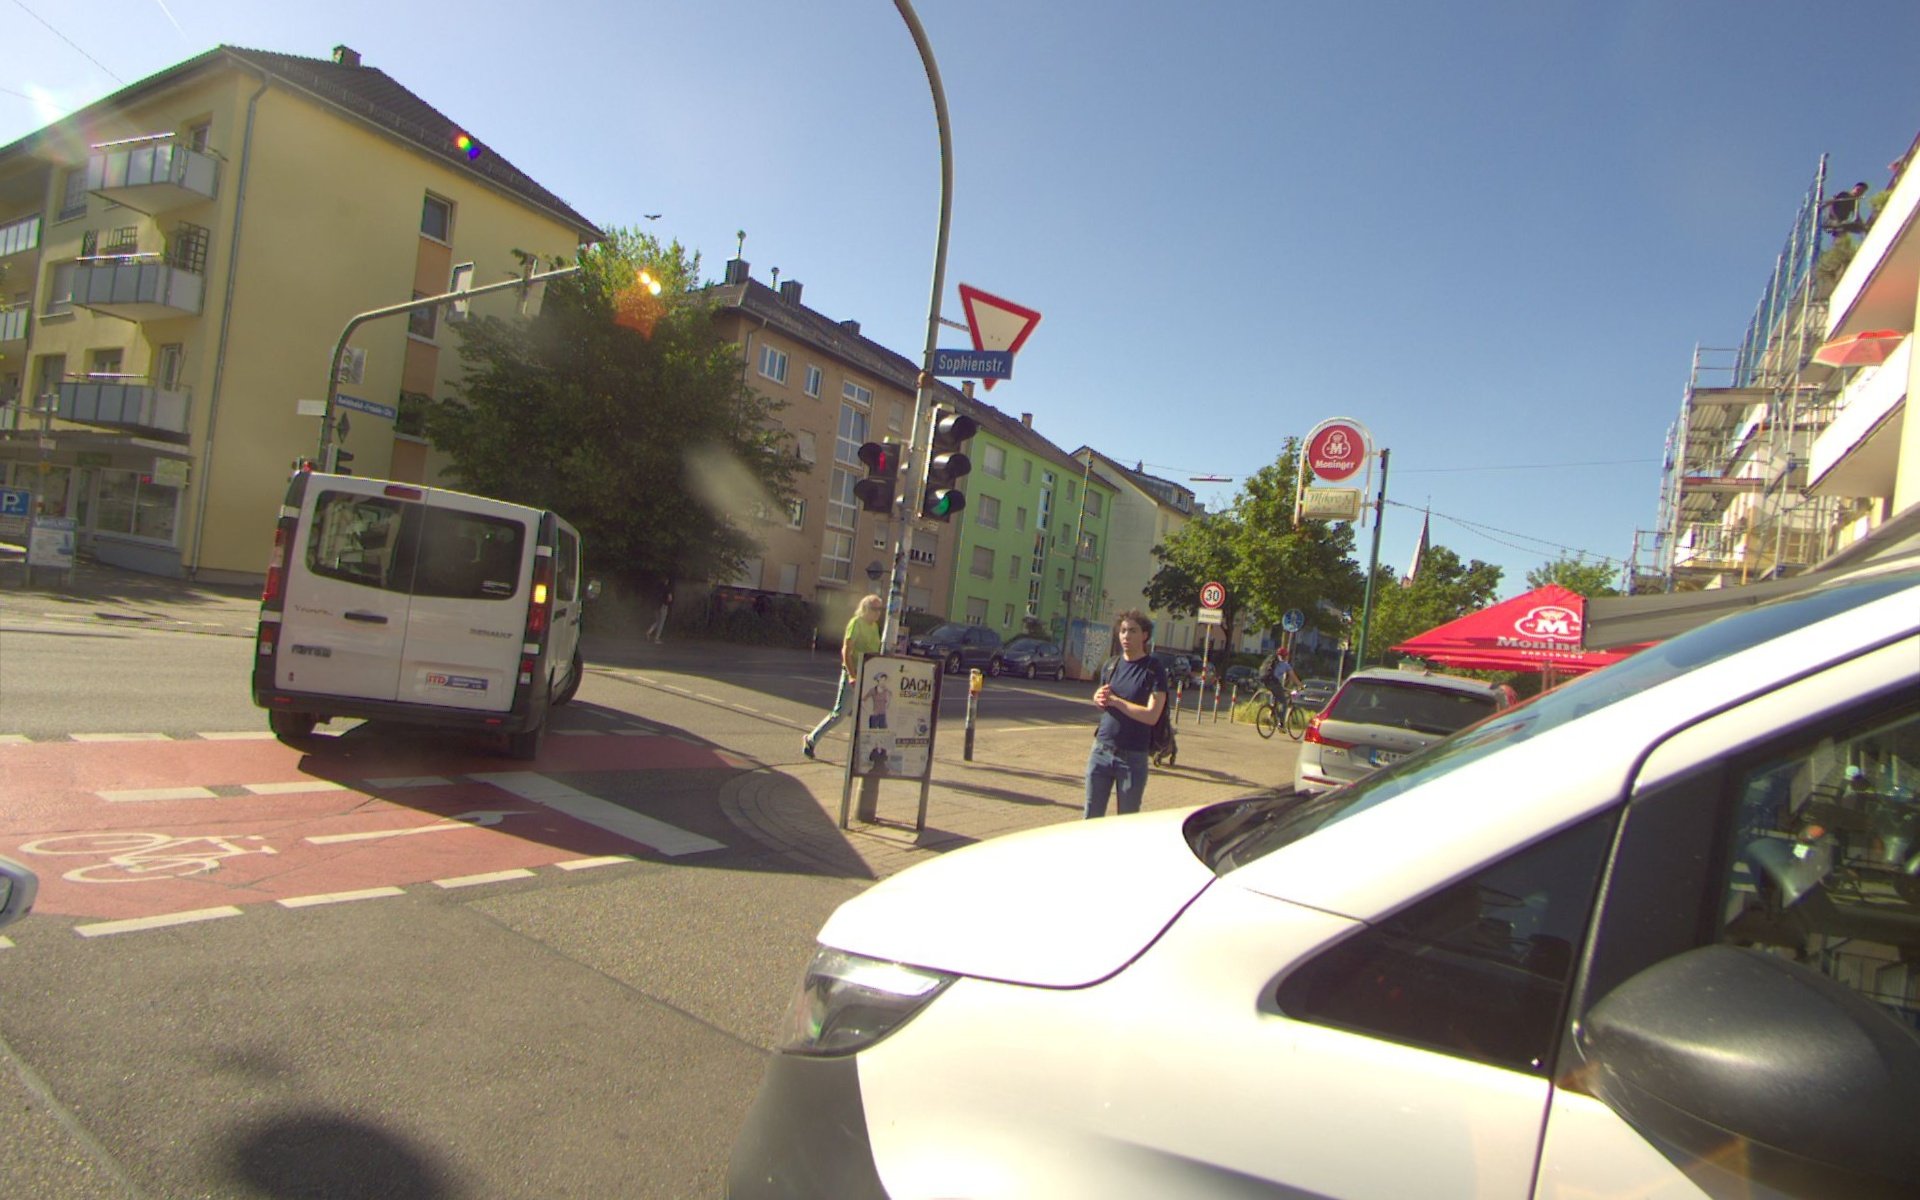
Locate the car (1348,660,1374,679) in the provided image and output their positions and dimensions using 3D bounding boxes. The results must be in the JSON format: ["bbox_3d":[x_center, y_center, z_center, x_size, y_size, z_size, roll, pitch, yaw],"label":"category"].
[{"bbox_3d":[36.961,6.407,92.690,1.657,1.428,3.518,7,-1,31],"label":"car"}]

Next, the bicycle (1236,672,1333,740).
[{"bbox_3d":[6.860,2.246,21.224,2.119,1.270,0.797,6,-2,-36],"label":"bicycle"}]

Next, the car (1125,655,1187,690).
[{"bbox_3d":[9.583,3.543,49.142,1.658,1.352,3.516,7,-1,33],"label":"car"}]

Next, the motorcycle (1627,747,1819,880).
[{"bbox_3d":[8.124,2.282,10.704,1.986,1.180,0.565,8,-1,-21],"label":"motorcycle"}]

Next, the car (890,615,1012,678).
[{"bbox_3d":[-0.229,1.544,32.645,1.967,1.592,3.993,7,-1,32],"label":"car"}]

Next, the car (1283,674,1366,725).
[{"bbox_3d":[11.978,3.268,32.923,1.686,1.329,3.994,7,-2,32],"label":"car"}]

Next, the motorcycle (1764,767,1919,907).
[{"bbox_3d":[9.047,2.380,10.052,1.986,1.180,0.565,8,-1,-21],"label":"motorcycle"}]

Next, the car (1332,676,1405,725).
[{"bbox_3d":[15.015,3.706,36.891,1.686,1.470,3.993,7,-2,32],"label":"car"}]

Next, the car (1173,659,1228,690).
[{"bbox_3d":[12.993,4.018,54.232,1.658,1.352,3.516,7,-1,33],"label":"car"}]

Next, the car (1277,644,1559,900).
[{"bbox_3d":[4.547,1.481,9.615,1.795,1.682,3.993,7,-1,32],"label":"car"}]

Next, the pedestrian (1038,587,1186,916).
[{"bbox_3d":[0.953,0.894,6.208,0.594,1.844,0.629,7,0,17],"label":"pedestrian"}]

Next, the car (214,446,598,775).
[{"bbox_3d":[-4.550,0.127,9.210,1.947,1.961,5.039,9,-3,-18],"label":"car"}]

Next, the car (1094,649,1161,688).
[{"bbox_3d":[7.677,3.137,45.812,1.658,1.428,3.516,7,-1,32],"label":"car"}]

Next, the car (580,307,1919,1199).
[{"bbox_3d":[1.942,0.823,1.294,4.752,1.831,1.972,6,-1,31],"label":"car"}]

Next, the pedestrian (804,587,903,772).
[{"bbox_3d":[-1.095,0.810,10.369,0.613,1.783,0.526,7,0,30],"label":"pedestrian"}]

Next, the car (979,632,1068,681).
[{"bbox_3d":[2.382,2.108,36.875,1.658,1.428,3.516,7,-1,32],"label":"car"}]

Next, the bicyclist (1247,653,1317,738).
[{"bbox_3d":[6.780,2.002,21.170,1.115,1.669,0.796,6,-2,-36],"label":"bicyclist"}]

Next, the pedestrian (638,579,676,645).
[{"bbox_3d":[-7.693,0.315,25.530,0.530,1.590,0.540,7,0,32],"label":"pedestrian"}]
